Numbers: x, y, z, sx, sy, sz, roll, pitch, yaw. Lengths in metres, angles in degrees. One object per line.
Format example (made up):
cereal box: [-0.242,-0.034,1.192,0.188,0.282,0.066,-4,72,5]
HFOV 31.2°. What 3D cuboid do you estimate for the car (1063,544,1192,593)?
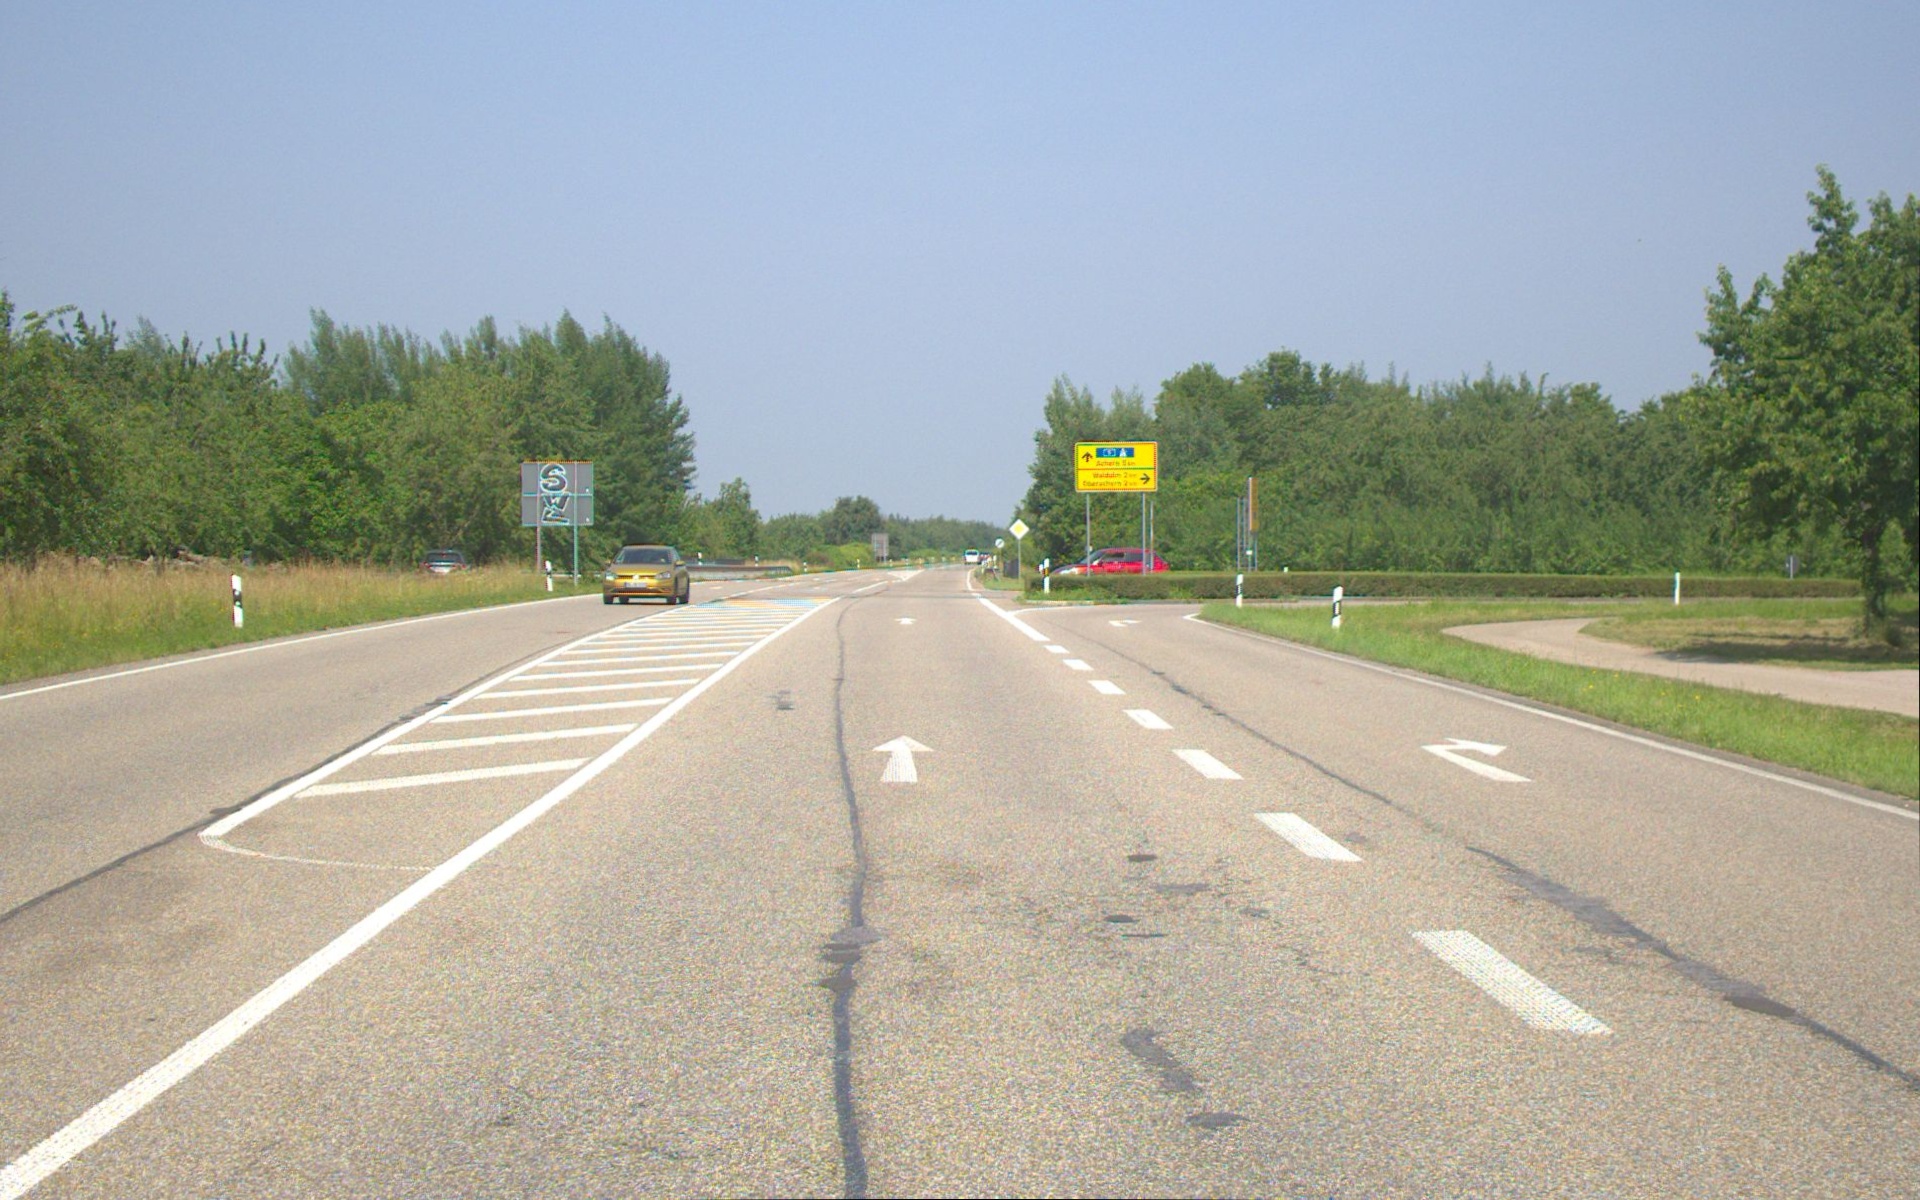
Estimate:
car: [5.362,-0.999,109.877,3.739,1.487,1.672,1,1,-17]

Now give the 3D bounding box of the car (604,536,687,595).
car: [-7.727,-0.862,84.705,1.697,1.411,3.825,0,1,0]

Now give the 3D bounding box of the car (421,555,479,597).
car: [-17.584,-0.851,118.689,1.704,1.418,4.044,0,1,-5]
